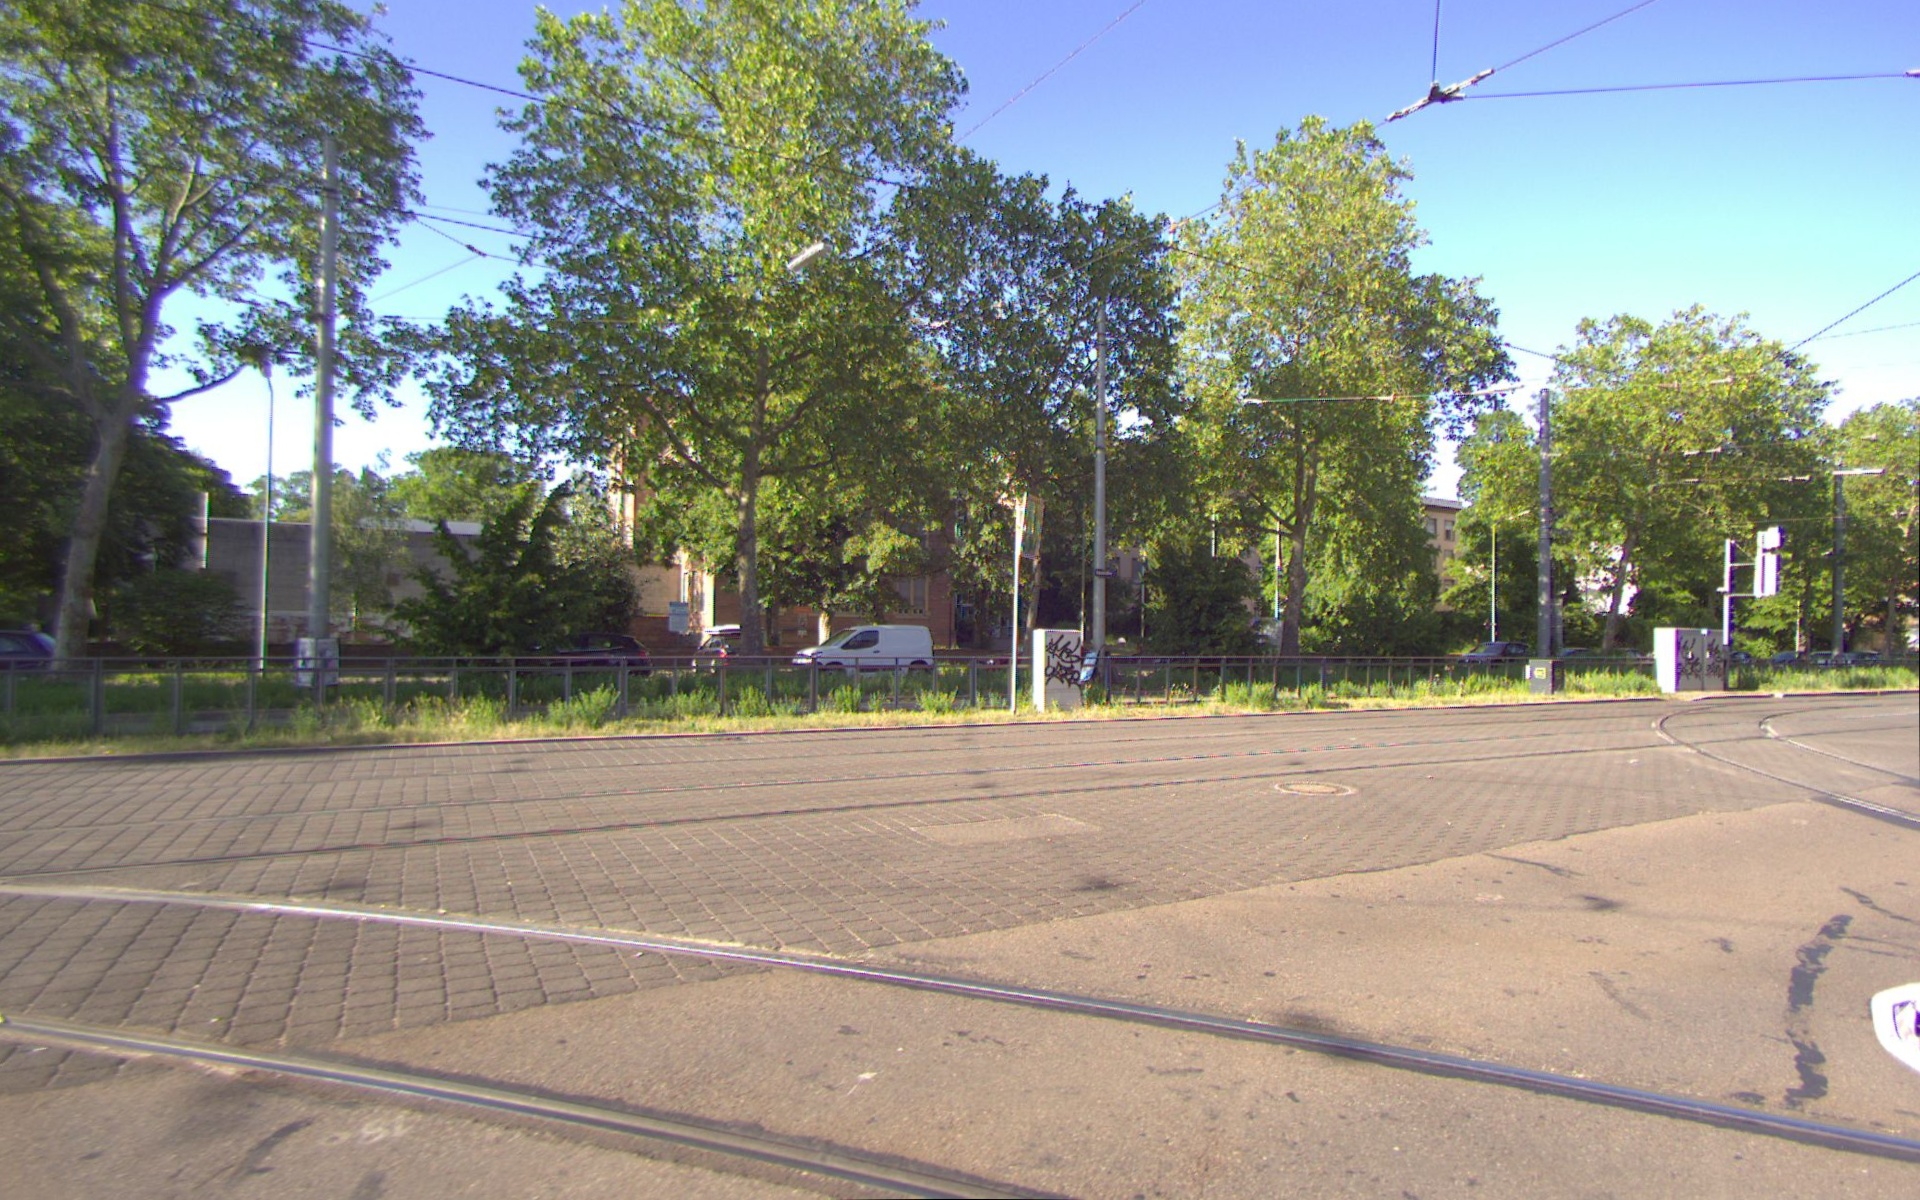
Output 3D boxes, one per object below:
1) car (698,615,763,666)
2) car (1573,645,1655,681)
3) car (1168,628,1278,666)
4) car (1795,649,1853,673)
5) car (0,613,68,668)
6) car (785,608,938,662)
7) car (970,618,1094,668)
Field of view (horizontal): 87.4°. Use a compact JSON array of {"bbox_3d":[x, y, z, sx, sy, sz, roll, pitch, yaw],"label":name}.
[{"bbox_3d":[-8.893,1.516,38.677,1.594,1.841,3.924,2,-1,-25],"label":"car"},{"bbox_3d":[33.513,3.229,51.461,3.955,1.644,1.983,2,1,-32],"label":"car"},{"bbox_3d":[9.423,1.678,35.978,3.717,1.237,1.614,3,-1,-29],"label":"car"},{"bbox_3d":[53.311,3.773,61.984,3.461,1.329,1.561,2,1,-29],"label":"car"},{"bbox_3d":[-20.523,0.794,20.357,3.363,1.043,1.474,2,1,-29],"label":"car"},{"bbox_3d":[-2.984,1.069,30.648,4.293,1.491,1.734,2,1,-29],"label":"car"},{"bbox_3d":[2.400,1.440,33.345,3.770,1.491,1.586,2,1,-26],"label":"car"}]
